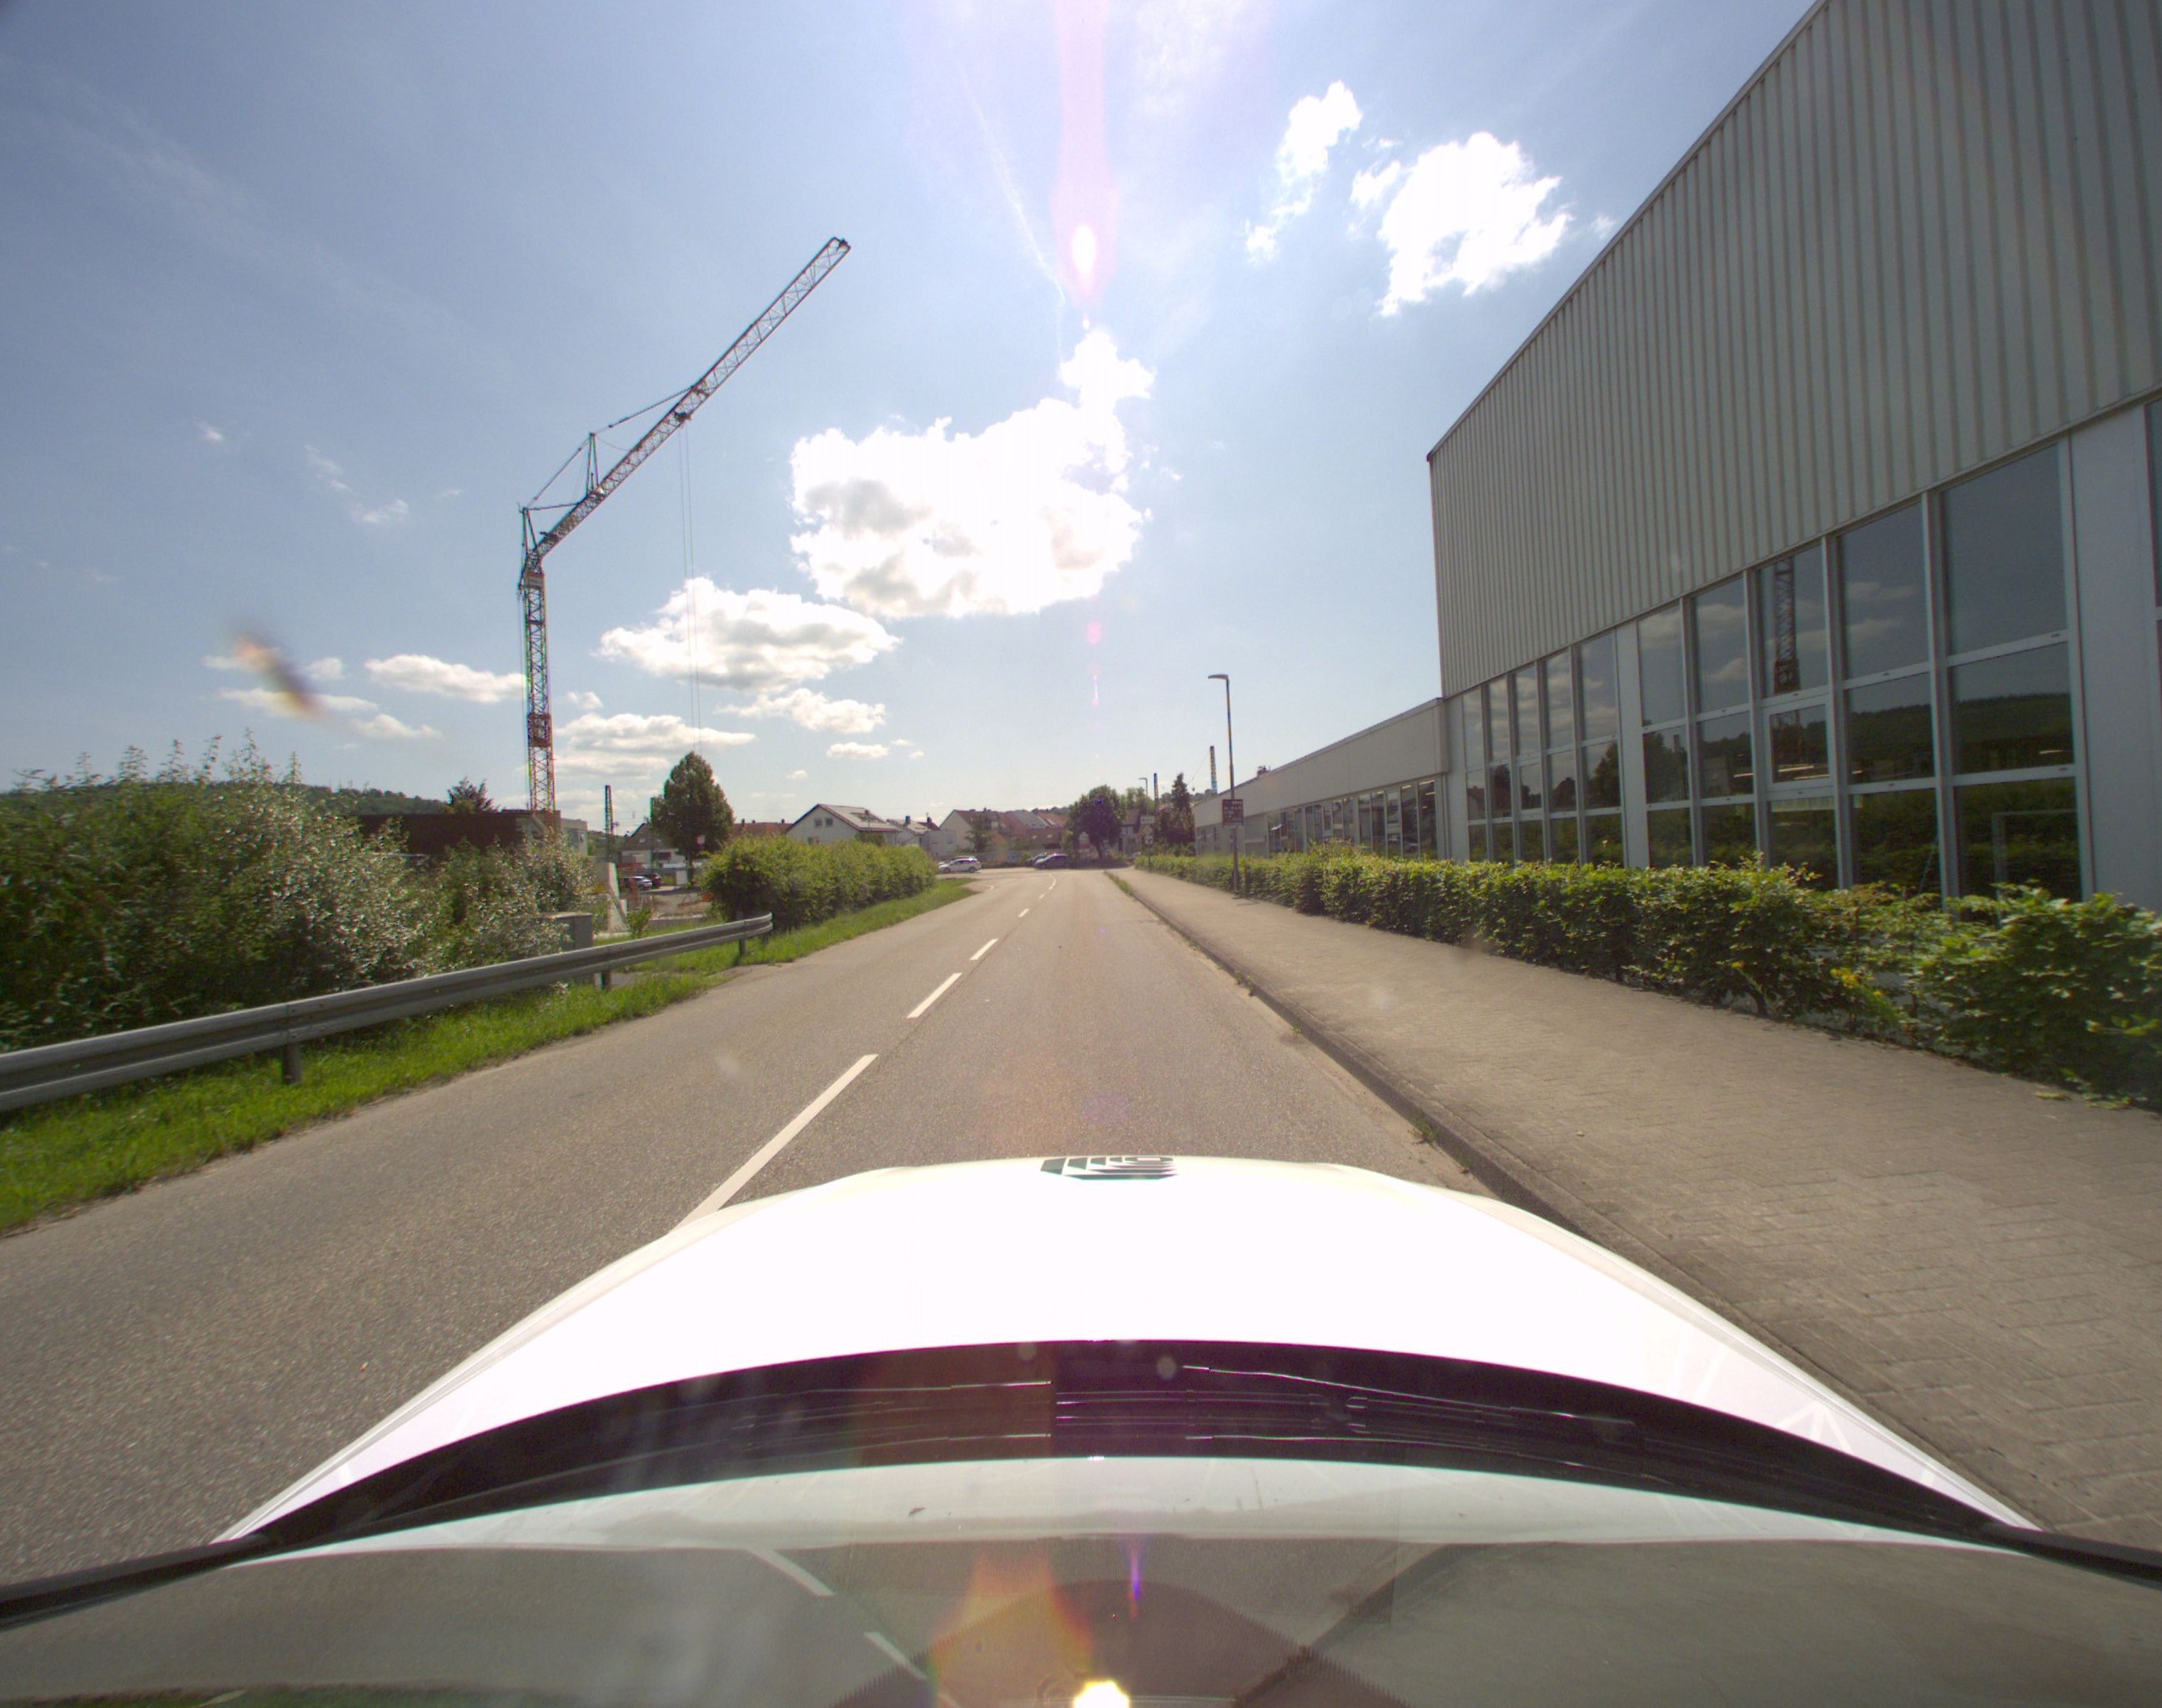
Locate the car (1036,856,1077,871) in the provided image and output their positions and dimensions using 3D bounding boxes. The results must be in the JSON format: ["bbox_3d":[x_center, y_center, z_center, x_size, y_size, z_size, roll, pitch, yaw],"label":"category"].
[{"bbox_3d":[-2.678,1.054,88.290,4.187,1.463,1.659,-2,-1,-9],"label":"car"}]

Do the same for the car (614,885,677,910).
[{"bbox_3d":[-30.499,3.007,57.020,3.742,1.486,1.841,-3,0,-32],"label":"car"}]

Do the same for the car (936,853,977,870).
[{"bbox_3d":[-13.838,0.790,90.589,4.451,1.690,1.994,-2,1,-9],"label":"car"}]

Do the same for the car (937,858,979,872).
[{"bbox_3d":[-12.956,1.171,85.929,4.287,1.477,1.819,0,-1,-13],"label":"car"}]

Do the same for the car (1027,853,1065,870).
[{"bbox_3d":[-3.992,0.822,92.362,3.988,1.657,1.993,-3,0,-10],"label":"car"}]

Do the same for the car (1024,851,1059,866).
[{"bbox_3d":[-4.637,0.537,95.744,3.987,1.730,1.764,-1,-1,-10],"label":"car"}]

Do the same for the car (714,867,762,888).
[{"bbox_3d":[-35.295,2.398,83.756,4.420,2.013,1.983,-2,0,-26],"label":"car"}]
